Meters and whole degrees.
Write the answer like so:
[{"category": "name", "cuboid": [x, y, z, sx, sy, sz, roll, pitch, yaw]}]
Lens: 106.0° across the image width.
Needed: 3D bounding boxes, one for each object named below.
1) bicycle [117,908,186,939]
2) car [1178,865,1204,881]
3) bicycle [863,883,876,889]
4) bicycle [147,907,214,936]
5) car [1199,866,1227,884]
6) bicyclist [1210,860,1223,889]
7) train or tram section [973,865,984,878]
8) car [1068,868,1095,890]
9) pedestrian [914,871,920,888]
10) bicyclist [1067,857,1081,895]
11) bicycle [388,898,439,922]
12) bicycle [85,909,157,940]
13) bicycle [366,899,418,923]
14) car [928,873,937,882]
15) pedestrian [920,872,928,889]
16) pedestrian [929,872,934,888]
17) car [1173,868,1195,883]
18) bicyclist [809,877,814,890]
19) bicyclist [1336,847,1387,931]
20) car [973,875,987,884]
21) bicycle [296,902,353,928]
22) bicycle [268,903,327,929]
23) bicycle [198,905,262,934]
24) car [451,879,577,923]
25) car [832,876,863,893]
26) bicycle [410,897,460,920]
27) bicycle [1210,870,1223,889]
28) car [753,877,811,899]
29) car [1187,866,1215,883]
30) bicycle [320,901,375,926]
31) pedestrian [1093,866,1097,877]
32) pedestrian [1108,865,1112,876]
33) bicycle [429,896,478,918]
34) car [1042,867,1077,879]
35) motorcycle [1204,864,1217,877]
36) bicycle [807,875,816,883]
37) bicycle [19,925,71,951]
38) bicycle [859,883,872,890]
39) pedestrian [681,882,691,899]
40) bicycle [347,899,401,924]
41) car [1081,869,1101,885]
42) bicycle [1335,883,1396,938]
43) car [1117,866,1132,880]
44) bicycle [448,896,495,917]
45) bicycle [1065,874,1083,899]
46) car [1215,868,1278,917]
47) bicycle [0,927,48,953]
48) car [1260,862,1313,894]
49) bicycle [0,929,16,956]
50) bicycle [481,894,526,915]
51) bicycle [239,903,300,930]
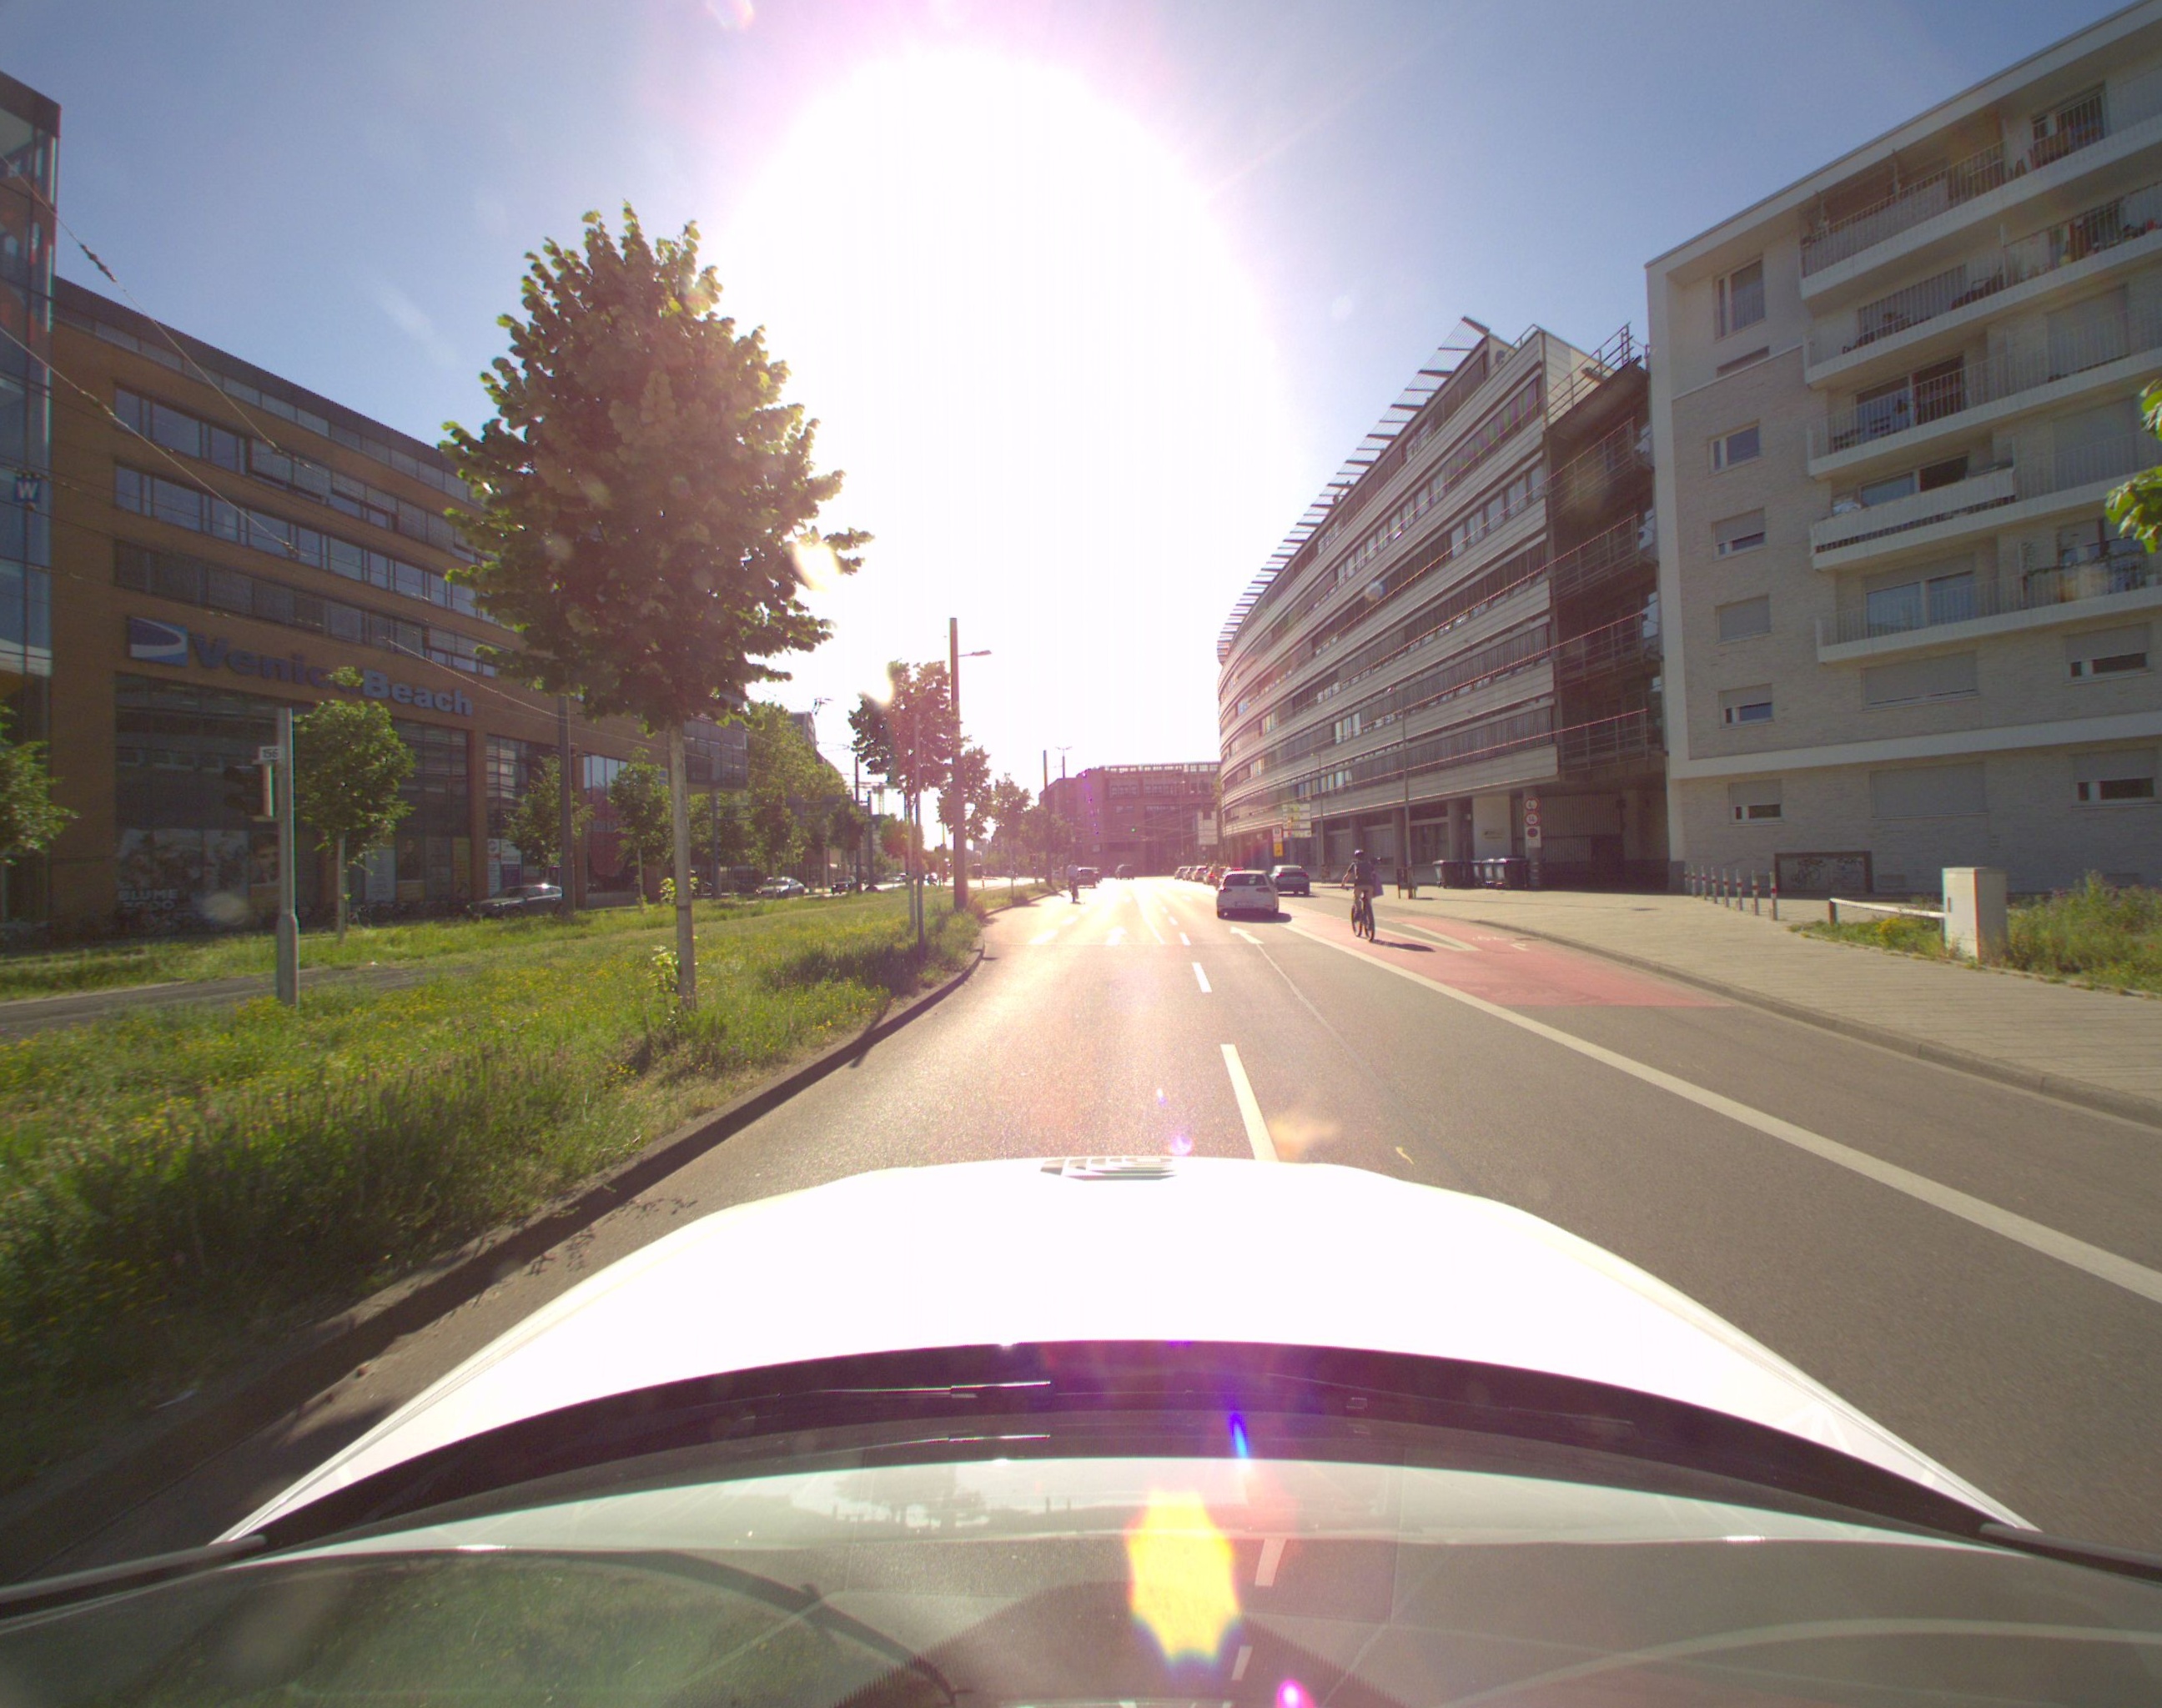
[{"category": "bicycle", "cuboid": [-36.324, 2.707, 31.822, 2.159, 1.123, 0.755, -1, -1, 10]}, {"category": "car", "cuboid": [11.423, 1.957, 85.157, 1.902, 1.541, 4.132, 0, -1, -4]}, {"category": "bicycle", "cuboid": [-43.685, 6.616, 168.043, 2.477, 1.310, 0.733, -2, -1, -2]}, {"category": "bicycle", "cuboid": [-36.237, 2.717, 32.788, 2.159, 1.123, 0.755, -1, -1, 10]}, {"category": "car", "cuboid": [10.919, 1.747, 67.573, 1.715, 1.396, 4.790, -2, -1, 2]}, {"category": "bicyclist", "cuboid": [8.314, 1.229, 49.900, 0.646, 1.752, 1.047, -2, 0, 5]}, {"category": "train or tram section", "cuboid": [-24.954, 4.238, 198.468, 2.325, 3.003, 13.121, -2, -1, -8]}, {"category": "car", "cuboid": [0.068, 1.862, 62.021, 1.719, 1.564, 3.681, -2, -1, 4]}, {"category": "pedestrian", "cuboid": [-17.932, 2.743, 88.984, 0.464, 1.831, 0.453, -1, -2, -37]}, {"category": "bicyclist", "cuboid": [-0.321, 0.995, 36.999, 0.615, 1.670, 1.020, 0, -1, 2]}, {"category": "bicycle", "cuboid": [-33.496, 2.800, 40.875, 2.159, 1.123, 0.755, -1, -1, 10]}, {"category": "bicycle", "cuboid": [-36.265, 2.666, 30.784, 2.159, 1.123, 0.755, -1, -1, 10]}, {"category": "bicycle", "cuboid": [-33.901, 2.792, 40.070, 2.159, 1.123, 0.755, -1, -1, 10]}, {"category": "car", "cuboid": [-27.751, 4.435, 152.303, 1.610, 1.398, 3.904, -5, 0, -11]}, {"category": "pedestrian", "cuboid": [-17.349, 2.930, 89.963, 0.585, 1.831, 0.492, -1, -2, -37]}, {"category": "pedestrian", "cuboid": [-17.014, 2.964, 92.402, 0.387, 1.831, 0.459, -1, -1, -30]}, {"category": "car", "cuboid": [11.936, 2.480, 94.488, 1.900, 1.583, 4.136, 0, -1, -1]}, {"category": "bicyclist", "cuboid": [-29.493, 3.241, 89.188, 0.339, 1.377, 0.481, -2, -3, 0]}, {"category": "bicyclist", "cuboid": [5.867, 0.723, 17.083, 0.802, 1.693, 1.053, 0, -1, 7]}, {"category": "car", "cuboid": [-20.150, 5.058, 161.731, 2.266, 1.727, 3.925, -2, -1, -14]}, {"category": "bicycle", "cuboid": [-34.776, 2.798, 37.451, 2.159, 1.123, 0.755, -1, -1, 10]}, {"category": "bicycle", "cuboid": [-35.031, 2.761, 36.437, 2.159, 1.123, 0.755, -1, -1, 10]}, {"category": "bicycle", "cuboid": [-35.306, 2.712, 33.791, 2.159, 1.123, 0.755, -1, -1, 10]}, {"category": "car", "cuboid": [-24.714, 2.013, 35.758, 1.983, 1.681, 4.546, -2, -1, 7]}, {"category": "car", "cuboid": [-20.064, 2.640, 70.098, 1.422, 1.359, 3.299, -2, -1, 4]}, {"category": "bicycle", "cuboid": [-33.532, 2.821, 42.267, 2.159, 1.123, 0.755, -1, -1, 10]}, {"category": "bicycle", "cuboid": [8.351, 1.544, 50.268, 0.646, 1.110, 1.760, -2, 0, 5]}, {"category": "car", "cuboid": [-20.456, 2.327, 55.910, 1.985, 1.334, 4.793, -2, -1, 3]}, {"category": "car", "cuboid": [11.591, 1.969, 78.883, 1.902, 1.583, 4.132, 0, -1, -4]}, {"category": "bicycle", "cuboid": [-34.523, 2.784, 38.343, 2.159, 1.123, 0.755, -1, -1, 10]}, {"category": "pedestrian", "cuboid": [2.130, 2.637, 123.513, 0.479, 1.579, 0.412, -1, -1, -16]}, {"category": "pedestrian", "cuboid": [4.375, 2.510, 122.770, 0.479, 1.656, 0.489, -1, -1, -16]}, {"category": "bicycle", "cuboid": [-33.341, 2.820, 43.273, 2.159, 1.123, 0.755, -1, -1, 10]}, {"category": "car", "cuboid": [-2.732, 2.482, 104.376, 2.079, 1.381, 4.357, -1, -2, -44]}, {"category": "motorcycle", "cuboid": [11.542, 1.480, 72.666, 0.826, 1.201, 2.390, -1, -2, 1]}, {"category": "bicycle", "cuboid": [-29.505, 2.739, 89.094, 0.352, 0.926, 1.895, -2, -2, 0]}, {"category": "bicycle", "cuboid": [-34.766, 2.826, 27.340, 1.437, 0.819, 0.447, -1, -1, 10]}, {"category": "bicycle", "cuboid": [-43.791, 6.569, 165.443, 2.477, 1.310, 0.733, -2, -1, -2]}, {"category": "pedestrian", "cuboid": [-37.427, 3.457, 77.154, 0.504, 1.624, 0.788, -2, -3, 1]}, {"category": "bicycle", "cuboid": [-34.055, 2.761, 39.256, 2.159, 1.123, 0.755, -1, -1, 10]}, {"category": "car", "cuboid": [0.949, 2.272, 79.847, 1.722, 1.449, 4.517, -2, -1, -2]}, {"category": "bicycle", "cuboid": [5.922, 1.143, 17.036, 0.821, 1.037, 1.895, 0, -1, 7]}, {"category": "car", "cuboid": [5.476, 2.378, 102.206, 1.775, 1.703, 4.139, 0, -1, 1]}, {"category": "bicycle", "cuboid": [-33.036, 2.855, 44.178, 2.159, 1.123, 0.755, -1, -1, 10]}, {"category": "bicycle", "cuboid": [-0.311, 1.478, 37.105, 0.684, 1.070, 2.698, 0, -1, 2]}, {"category": "car", "cuboid": [5.348, 1.162, 25.962, 1.760, 1.403, 4.309, 0, -1, 14]}, {"category": "bicycle", "cuboid": [-34.768, 2.821, 26.706, 1.437, 0.819, 0.447, -1, -1, 10]}, {"category": "car", "cuboid": [10.533, 1.202, 42.094, 1.715, 1.524, 4.400, -2, -1, 2]}, {"category": "bicycle", "cuboid": [-34.812, 2.814, 25.943, 1.437, 0.819, 0.447, -1, -1, 10]}, {"category": "bicycle", "cuboid": [-32.604, 2.865, 45.955, 2.159, 1.123, 0.755, -1, -1, 10]}, {"category": "bicycle", "cuboid": [-35.330, 2.733, 35.465, 2.159, 1.123, 0.755, -1, -1, 10]}]
